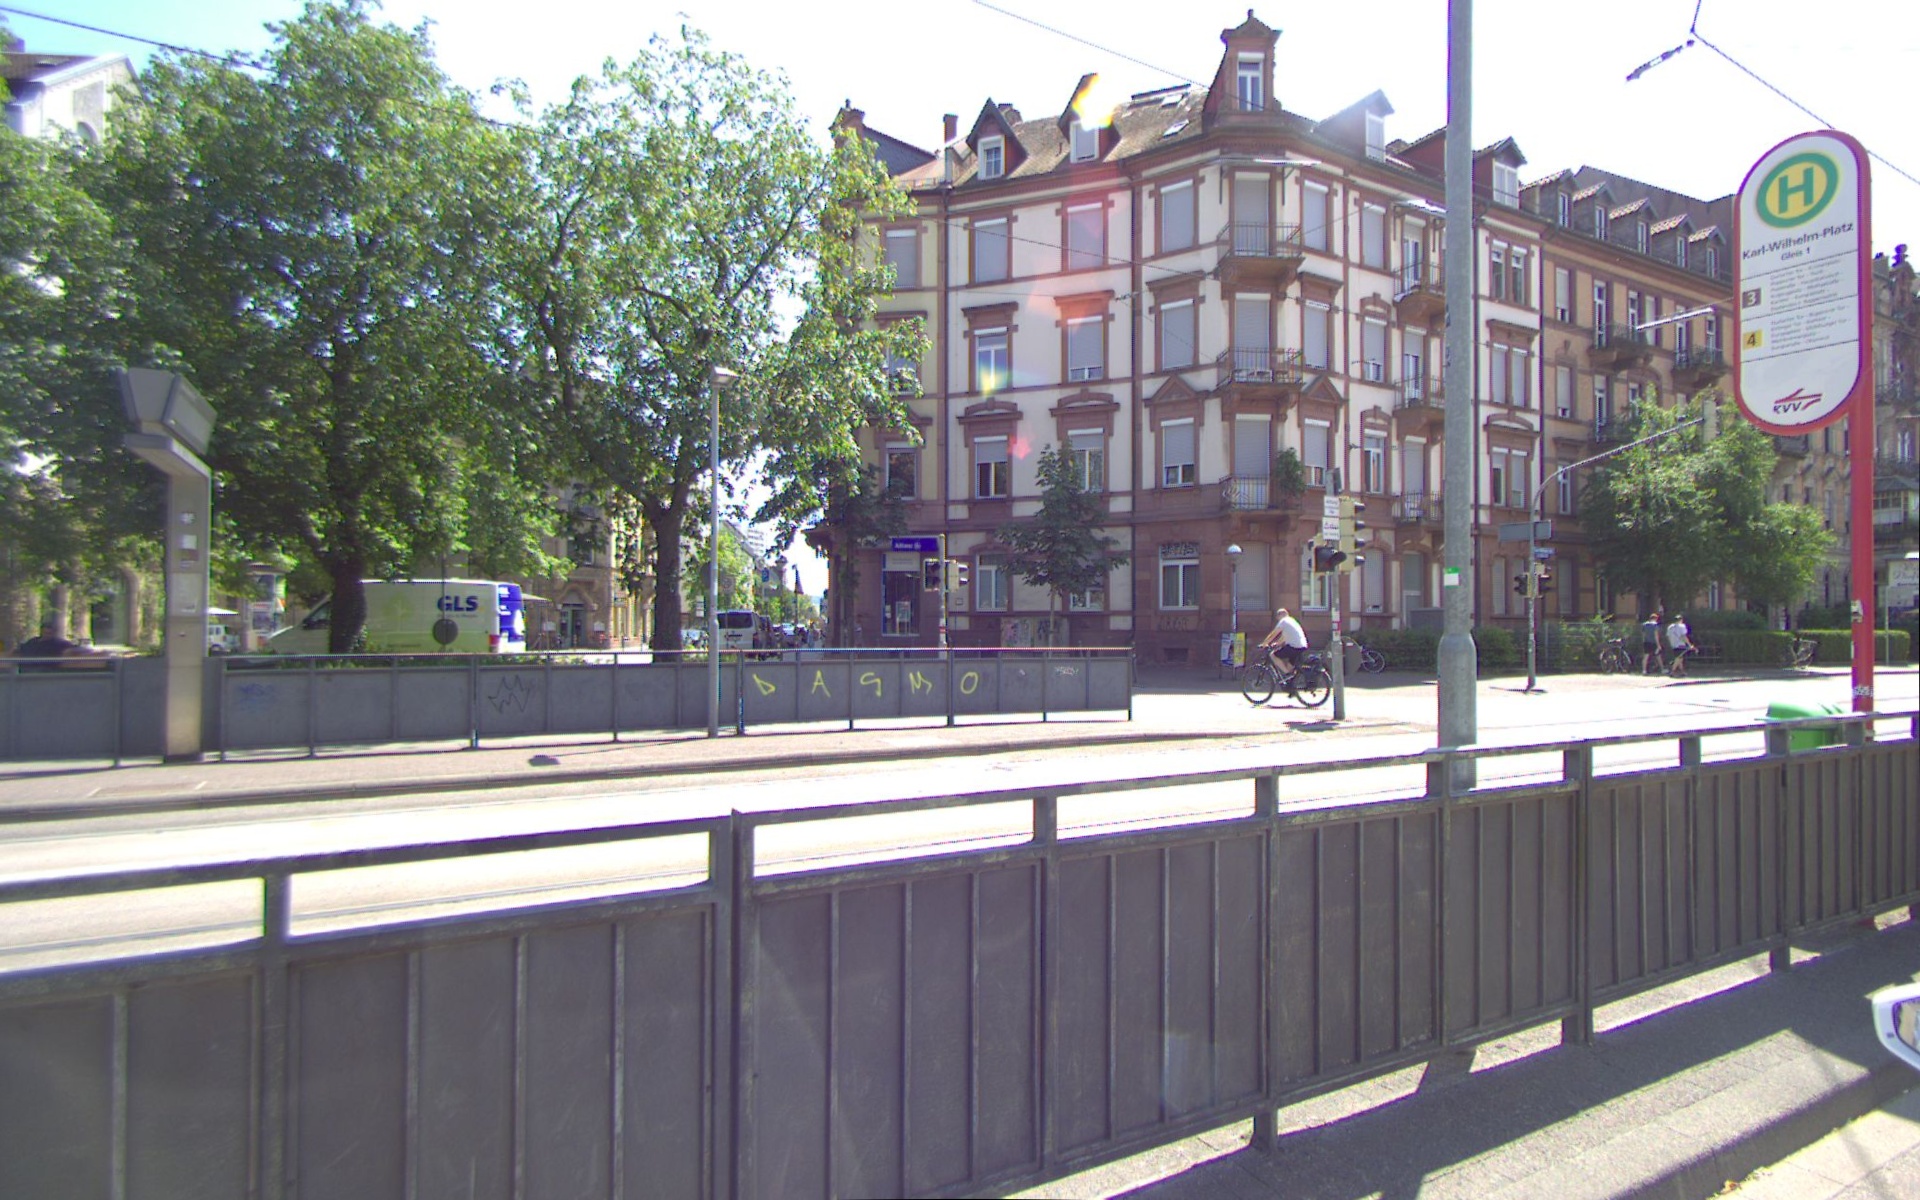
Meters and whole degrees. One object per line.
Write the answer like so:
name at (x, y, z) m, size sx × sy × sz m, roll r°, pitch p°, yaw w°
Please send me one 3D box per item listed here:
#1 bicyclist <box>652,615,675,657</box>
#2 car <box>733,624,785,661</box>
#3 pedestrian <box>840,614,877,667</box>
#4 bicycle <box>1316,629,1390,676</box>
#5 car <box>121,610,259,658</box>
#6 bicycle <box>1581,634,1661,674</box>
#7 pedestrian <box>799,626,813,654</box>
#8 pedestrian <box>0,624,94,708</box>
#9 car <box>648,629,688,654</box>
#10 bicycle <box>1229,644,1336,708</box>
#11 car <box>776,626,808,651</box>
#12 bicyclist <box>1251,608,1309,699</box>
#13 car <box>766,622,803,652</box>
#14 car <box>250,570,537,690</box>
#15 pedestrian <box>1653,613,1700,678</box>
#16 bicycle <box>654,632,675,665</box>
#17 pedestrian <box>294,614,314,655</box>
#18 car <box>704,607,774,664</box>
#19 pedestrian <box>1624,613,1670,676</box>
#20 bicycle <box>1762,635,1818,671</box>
bicyclist at (-11.264, 1.368, 38.192) m, size 0.710 × 1.582 × 0.897 m, roll 1°, pitch -1°, yaw -11°
car at (-9.622, 2.009, 48.292) m, size 1.893 × 1.541 × 3.998 m, roll 2°, pitch 0°, yaw -4°
pedestrian at (-3.284, 1.315, 32.598) m, size 1.040 × 1.712 × 0.723 m, roll 0°, pitch -1°, yaw 6°
bicycle at (11.668, 1.556, 29.866) m, size 1.923 × 1.312 × 0.564 m, roll 2°, pitch 0°, yaw 11°
car at (-31.186, 1.366, 40.820) m, size 3.932 × 1.814 × 1.994 m, roll 2°, pitch 0°, yaw -14°
bicycle at (20.231, 1.644, 30.719) m, size 2.742 × 1.151 × 0.932 m, roll 2°, pitch 0°, yaw -31°
pedestrian at (-9.331, 2.421, 60.916) m, size 0.790 × 1.632 × 0.731 m, roll 0°, pitch -1°, yaw -4°
pedestrian at (-14.658, 1.043, 16.109) m, size 0.925 × 1.261 × 0.860 m, roll 2°, pitch 0°, yaw -24°
car at (-20.655, 2.914, 71.167) m, size 1.846 × 1.617 × 3.998 m, roll 2°, pitch 0°, yaw -4°
bicycle at (5.898, 1.374, 18.387) m, size 1.737 × 1.070 × 0.698 m, roll 0°, pitch -1°, yaw 35°
car at (-12.479, 2.841, 74.761) m, size 1.962 × 1.617 × 3.998 m, roll 2°, pitch 0°, yaw -4°
bicyclist at (5.868, 0.969, 18.406) m, size 0.835 × 1.613 × 0.698 m, roll 0°, pitch -1°, yaw 35°
car at (-10.369, 2.175, 59.457) m, size 1.684 × 1.617 × 3.998 m, roll 2°, pitch 0°, yaw -4°
car at (-13.928, 0.734, 25.031) m, size 5.716 × 2.709 × 2.273 m, roll 2°, pitch 0°, yaw -4°
pedestrian at (21.009, 1.322, 29.470) m, size 0.863 × 1.847 × 0.812 m, roll 0°, pitch 1°, yaw -29°
bicycle at (-11.252, 1.842, 38.280) m, size 0.637 × 1.188 × 1.922 m, roll 1°, pitch -1°, yaw -13°
pedestrian at (-27.314, 1.445, 41.848) m, size 0.506 × 1.692 × 0.491 m, roll 0°, pitch -1°, yaw -8°
car at (-8.325, 1.298, 38.220) m, size 1.962 × 1.970 × 3.998 m, roll 2°, pitch 0°, yaw -4°
pedestrian at (20.597, 1.318, 30.123) m, size 0.863 × 1.847 × 0.812 m, roll 0°, pitch 1°, yaw -29°
bicycle at (28.520, 1.801, 34.498) m, size 2.750 × 1.151 × 0.930 m, roll 2°, pitch 0°, yaw -39°
